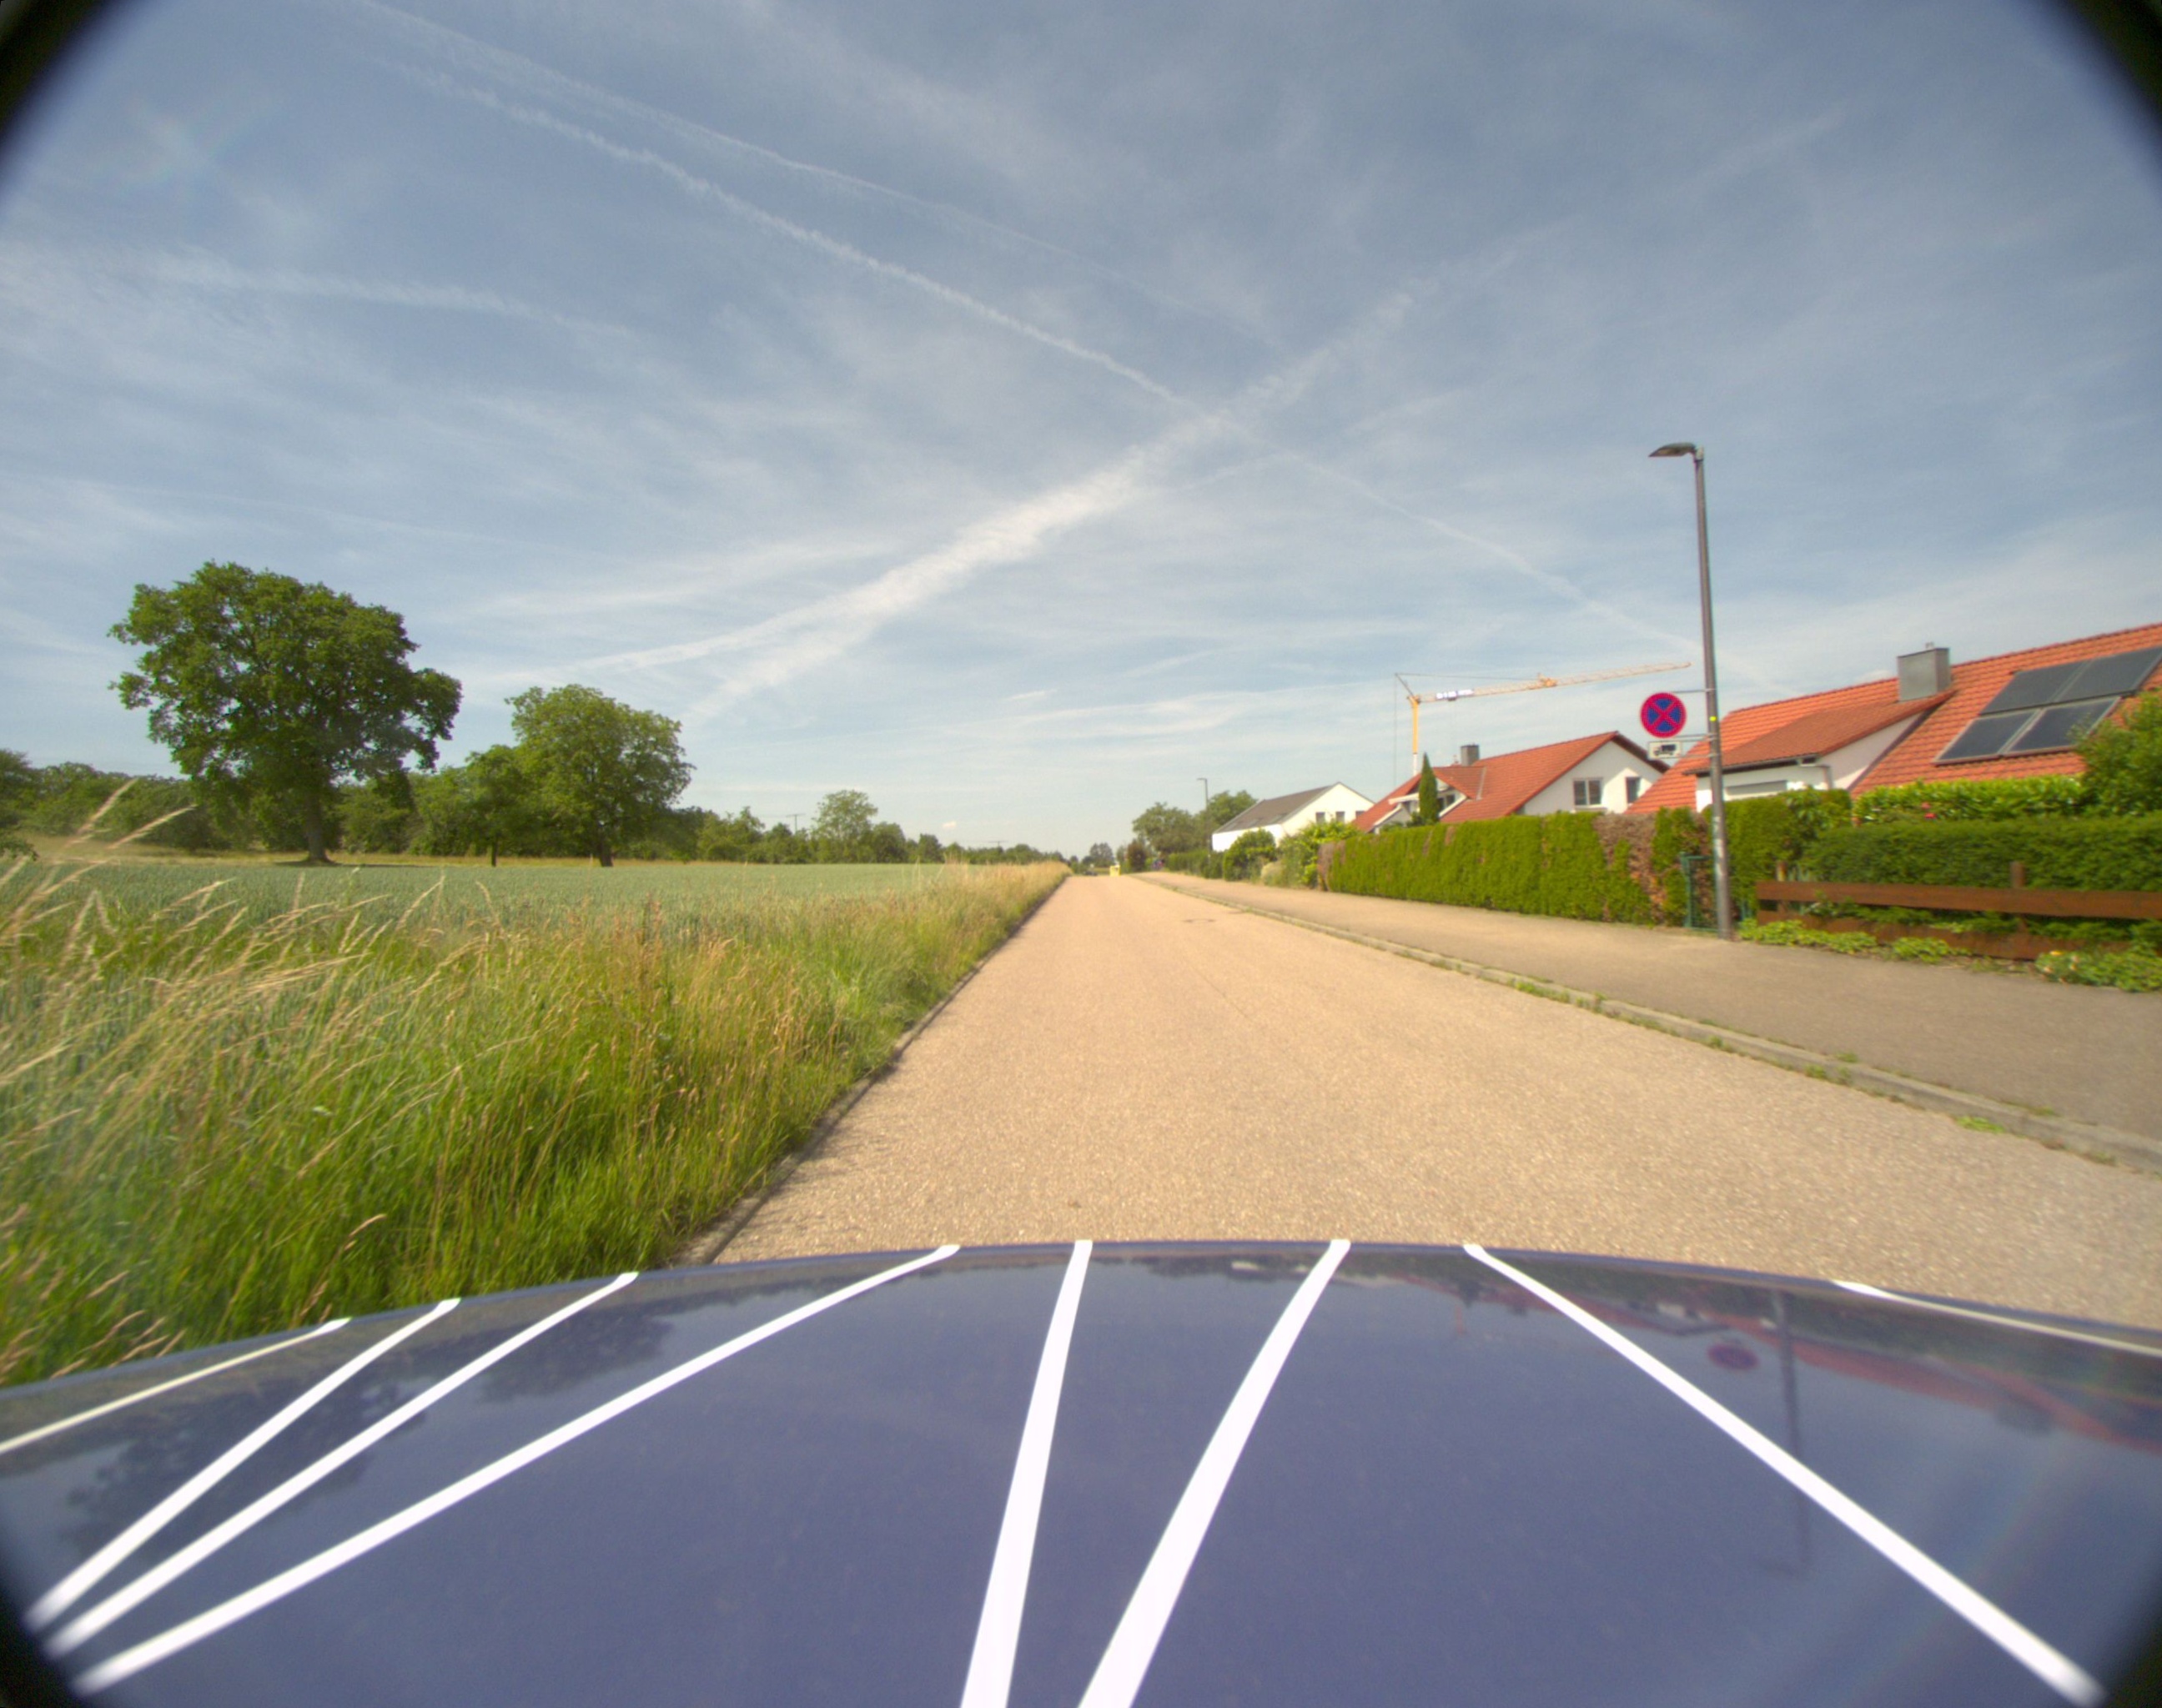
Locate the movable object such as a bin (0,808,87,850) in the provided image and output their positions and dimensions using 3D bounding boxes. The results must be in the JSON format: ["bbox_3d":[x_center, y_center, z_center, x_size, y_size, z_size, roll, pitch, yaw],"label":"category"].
[{"bbox_3d":[-64.192,-1.560,45.430,6.570,2.356,2.446,2,0,3],"label":"movable object such as a bin"}]

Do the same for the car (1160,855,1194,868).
[{"bbox_3d":[11.185,0.854,88.787,3.885,1.314,1.801,-3,0,5],"label":"car"}]

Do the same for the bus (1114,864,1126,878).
[{"bbox_3d":[10.907,4.778,212.811,3.066,3.557,9.457,-2,0,3],"label":"bus"}]

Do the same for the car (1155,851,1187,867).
[{"bbox_3d":[11.506,0.633,97.175,3.885,1.802,1.801,-3,0,5],"label":"car"}]
